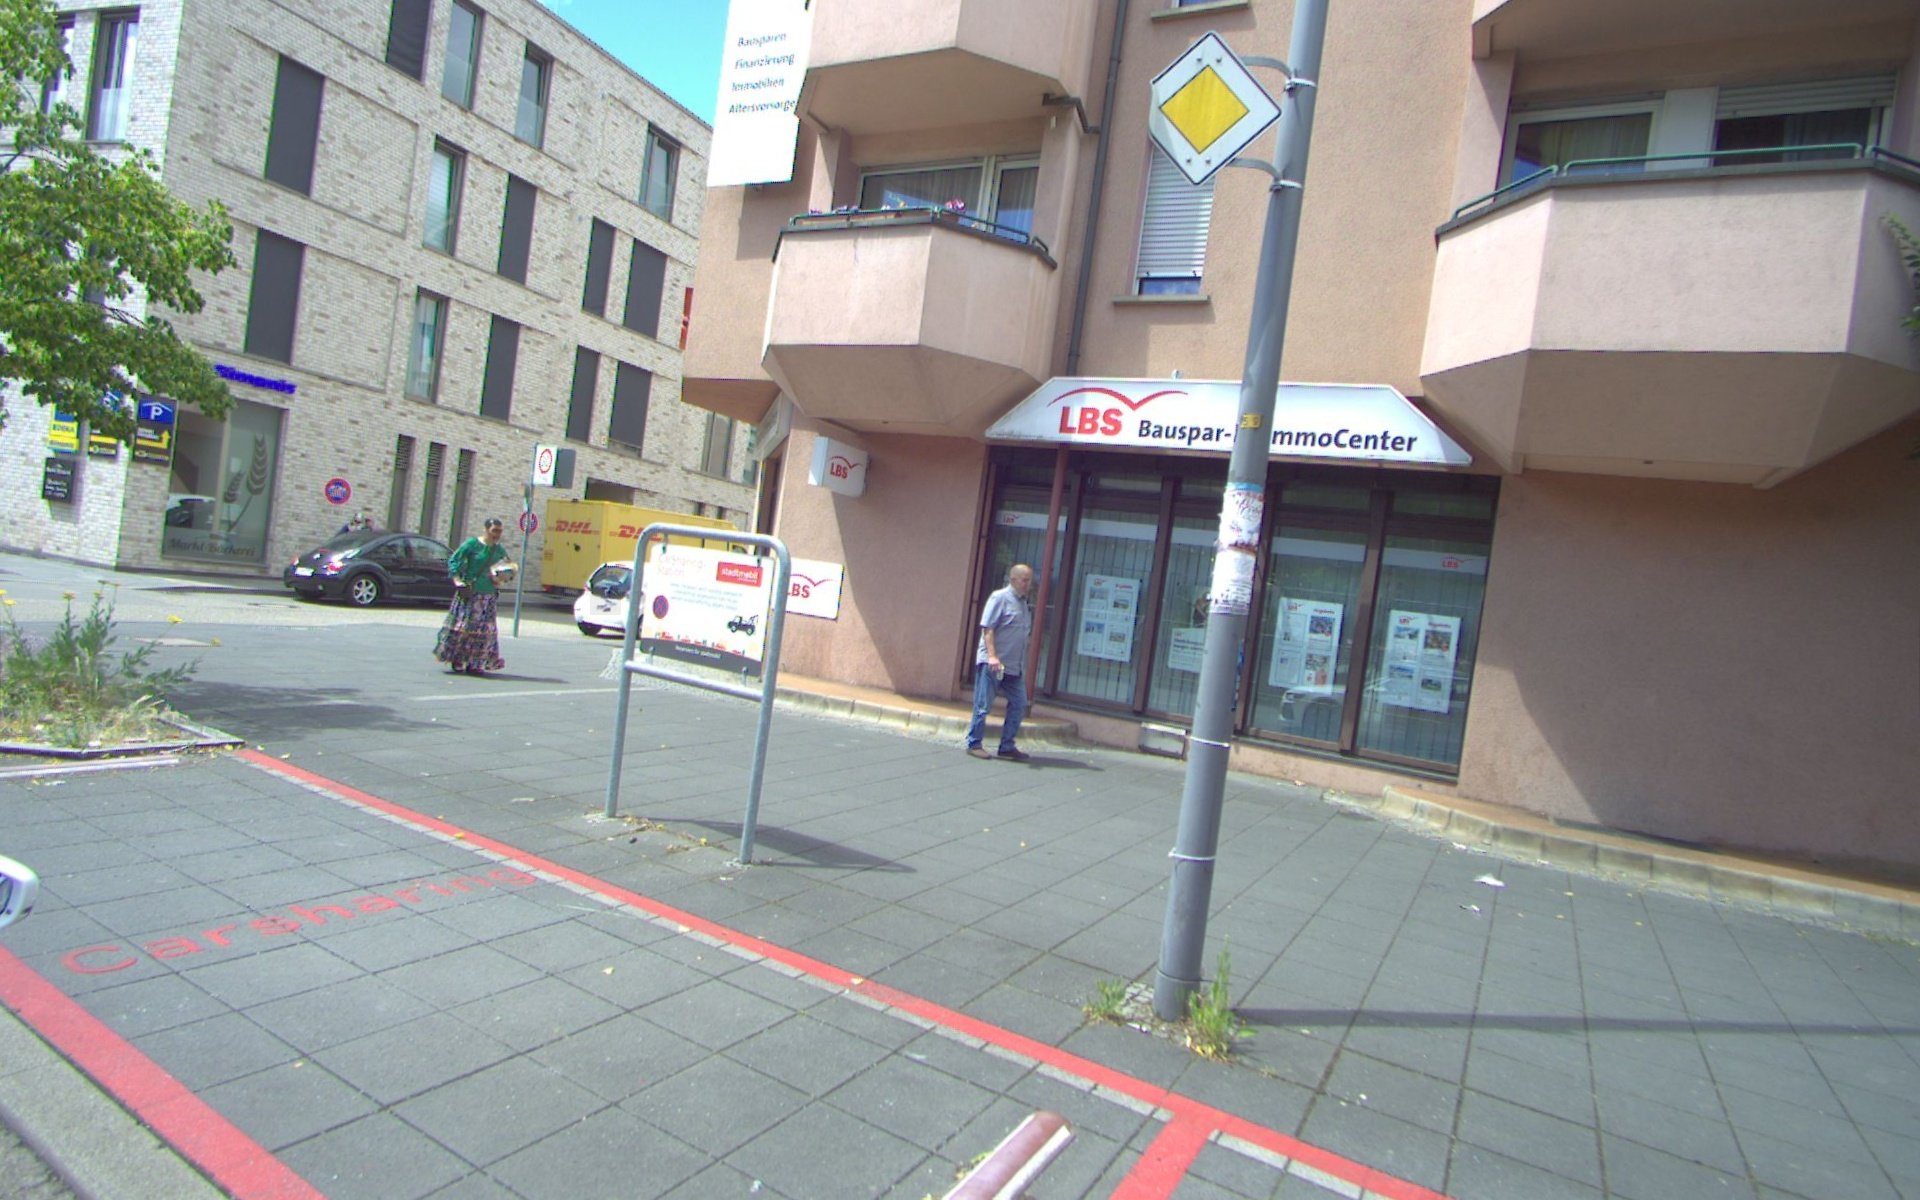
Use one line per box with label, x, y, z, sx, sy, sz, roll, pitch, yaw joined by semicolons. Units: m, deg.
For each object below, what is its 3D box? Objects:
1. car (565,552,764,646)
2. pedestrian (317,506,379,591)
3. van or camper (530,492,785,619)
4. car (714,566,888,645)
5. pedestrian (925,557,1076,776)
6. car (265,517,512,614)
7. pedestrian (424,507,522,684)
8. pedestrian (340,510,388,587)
car;-5.638;0.031;19.559;1.689;1.496;3.385;8;1;29
pedestrian;-13.205;-1.095;21.720;0.801;1.691;0.555;7;-1;-3
van or camper;-7.806;-1.037;27.014;2.237;2.772;6.863;6;1;27
car;-3.607;0.185;23.544;1.801;1.496;4.014;8;1;29
pedestrian;0.352;0.544;8.644;0.928;1.707;0.717;6;1;27
car;-11.288;-0.631;20.145;1.752;1.496;3.900;8;1;27
pedestrian;-4.926;-0.063;10.229;0.736;1.661;0.921;5;3;-24
pedestrian;-13.244;-1.136;22.357;0.592;1.592;0.522;7;-1;-3
